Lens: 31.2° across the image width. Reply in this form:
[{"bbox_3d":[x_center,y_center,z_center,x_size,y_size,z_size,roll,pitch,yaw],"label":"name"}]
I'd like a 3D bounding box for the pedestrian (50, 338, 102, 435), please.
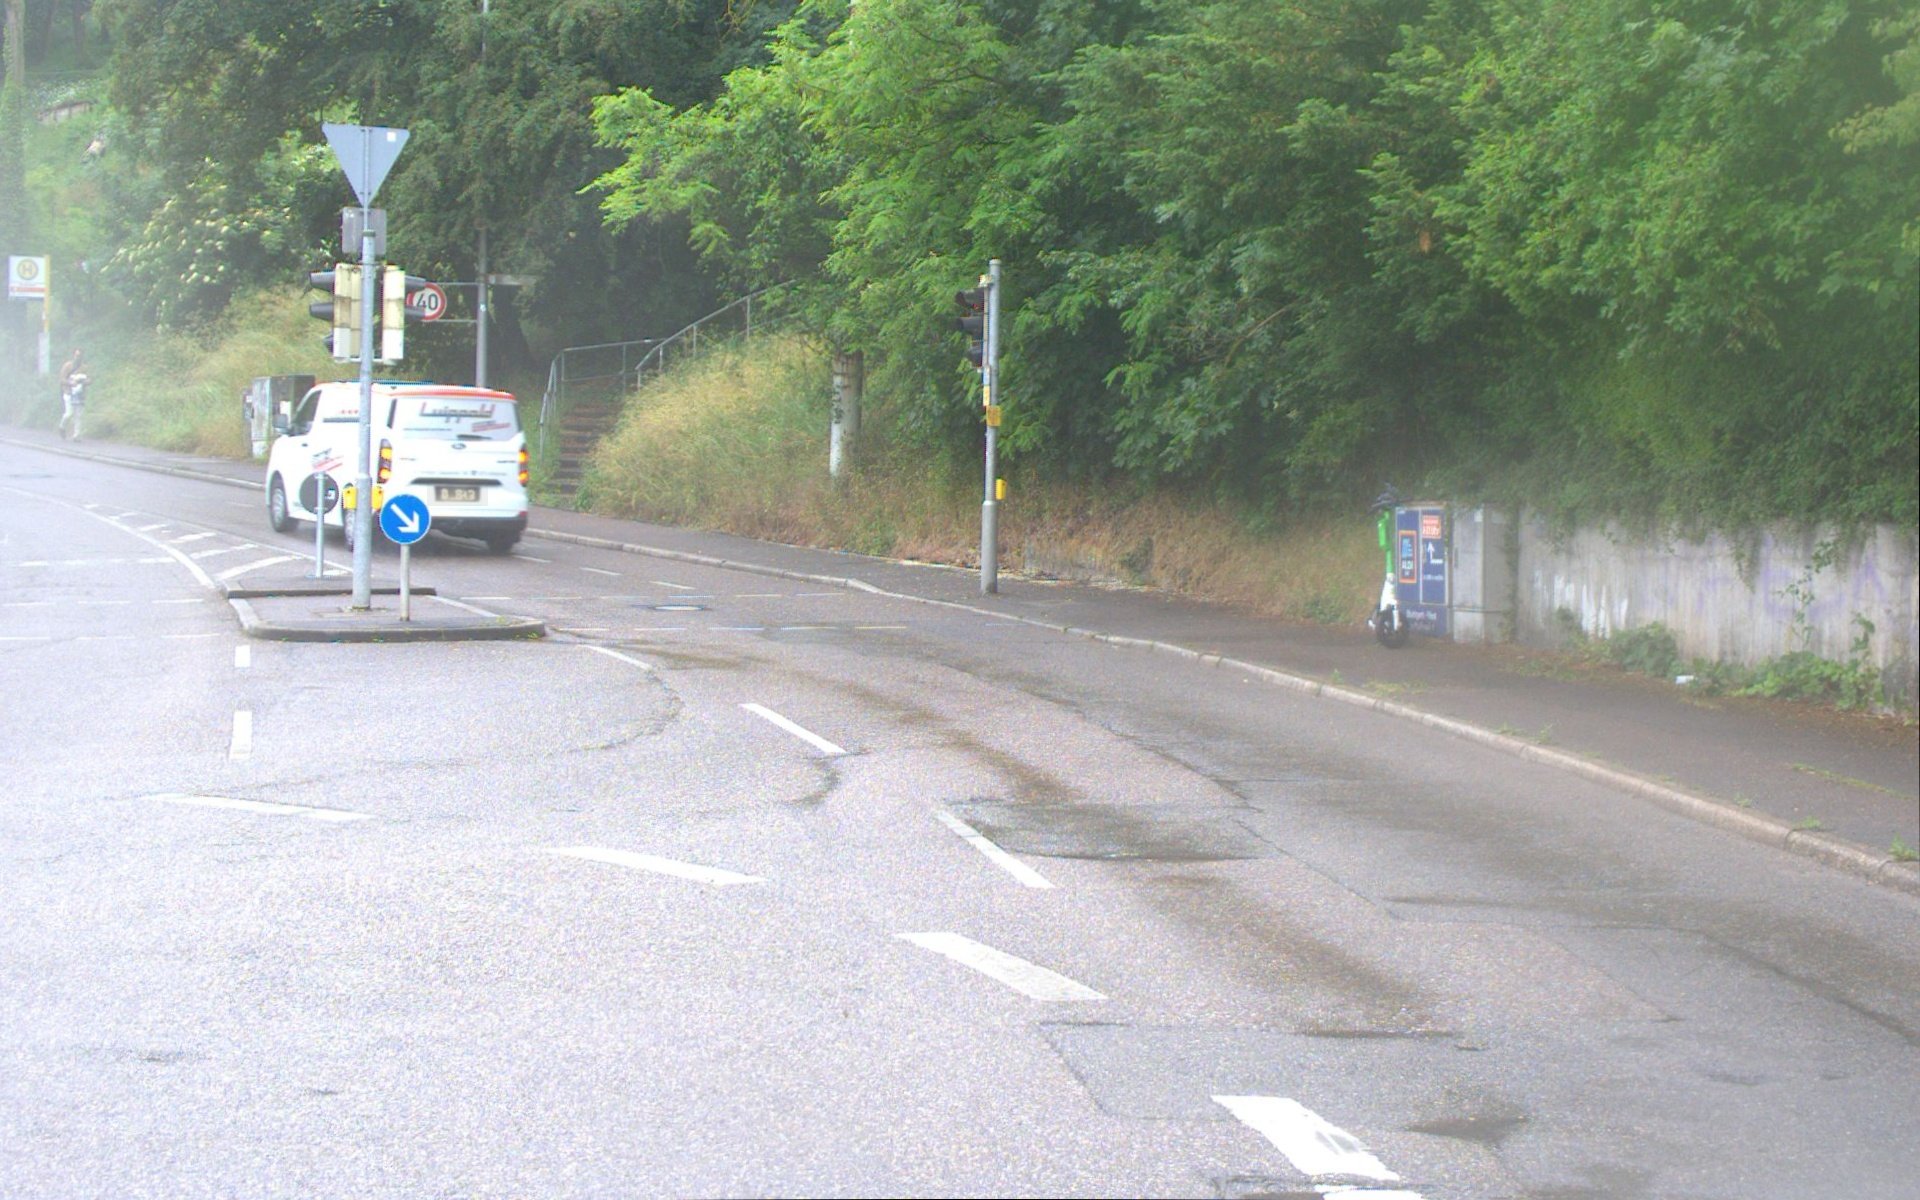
[{"bbox_3d":[-16.436,-3.954,63.910,0.880,1.730,0.866,0,0,-17],"label":"pedestrian"}]

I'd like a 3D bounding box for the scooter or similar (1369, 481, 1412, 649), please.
[{"bbox_3d":[3.370,-0.283,26.947,0.322,1.275,0.751,0,4,7],"label":"scooter or similar"}]

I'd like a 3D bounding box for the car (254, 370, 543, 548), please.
[{"bbox_3d":[-6.847,-1.688,41.478,2.065,1.999,4.816,0,2,-27],"label":"car"}]
